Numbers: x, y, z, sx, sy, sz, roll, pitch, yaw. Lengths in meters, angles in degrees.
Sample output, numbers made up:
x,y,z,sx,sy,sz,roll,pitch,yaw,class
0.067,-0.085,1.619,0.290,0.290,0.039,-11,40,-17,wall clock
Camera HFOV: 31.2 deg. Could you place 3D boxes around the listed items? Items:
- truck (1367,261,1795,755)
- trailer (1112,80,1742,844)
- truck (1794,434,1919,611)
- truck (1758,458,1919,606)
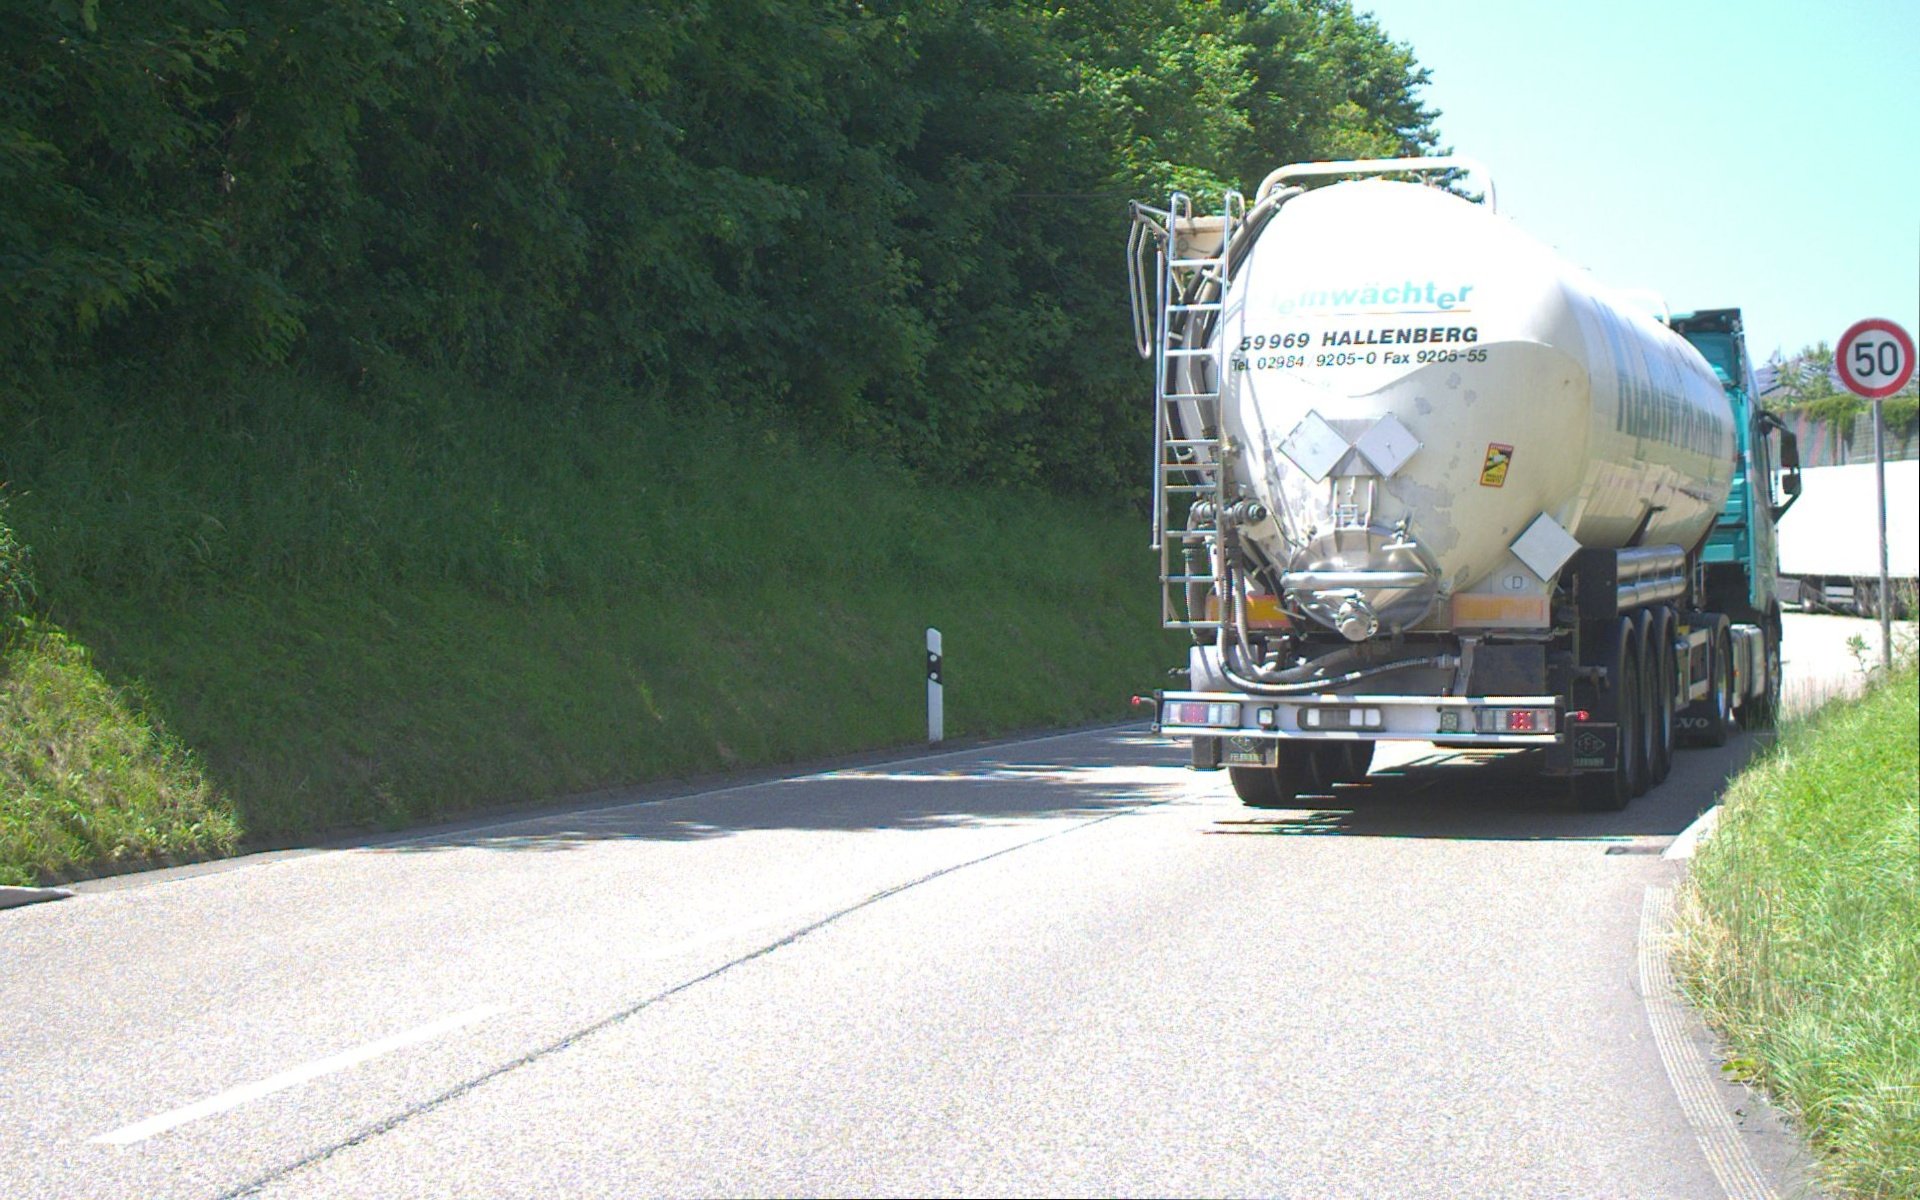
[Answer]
x,y,z,sx,sy,sz,roll,pitch,yaw,class
5.807,-0.718,31.130,2.729,3.916,7.256,0,0,19,truck
3.864,-0.814,24.869,2.663,4.174,11.894,1,1,17,trailer
24.784,-1.977,89.765,3.190,4.295,11.800,1,1,1,truck
24.783,-1.878,95.733,3.190,3.920,8.251,1,1,1,truck
